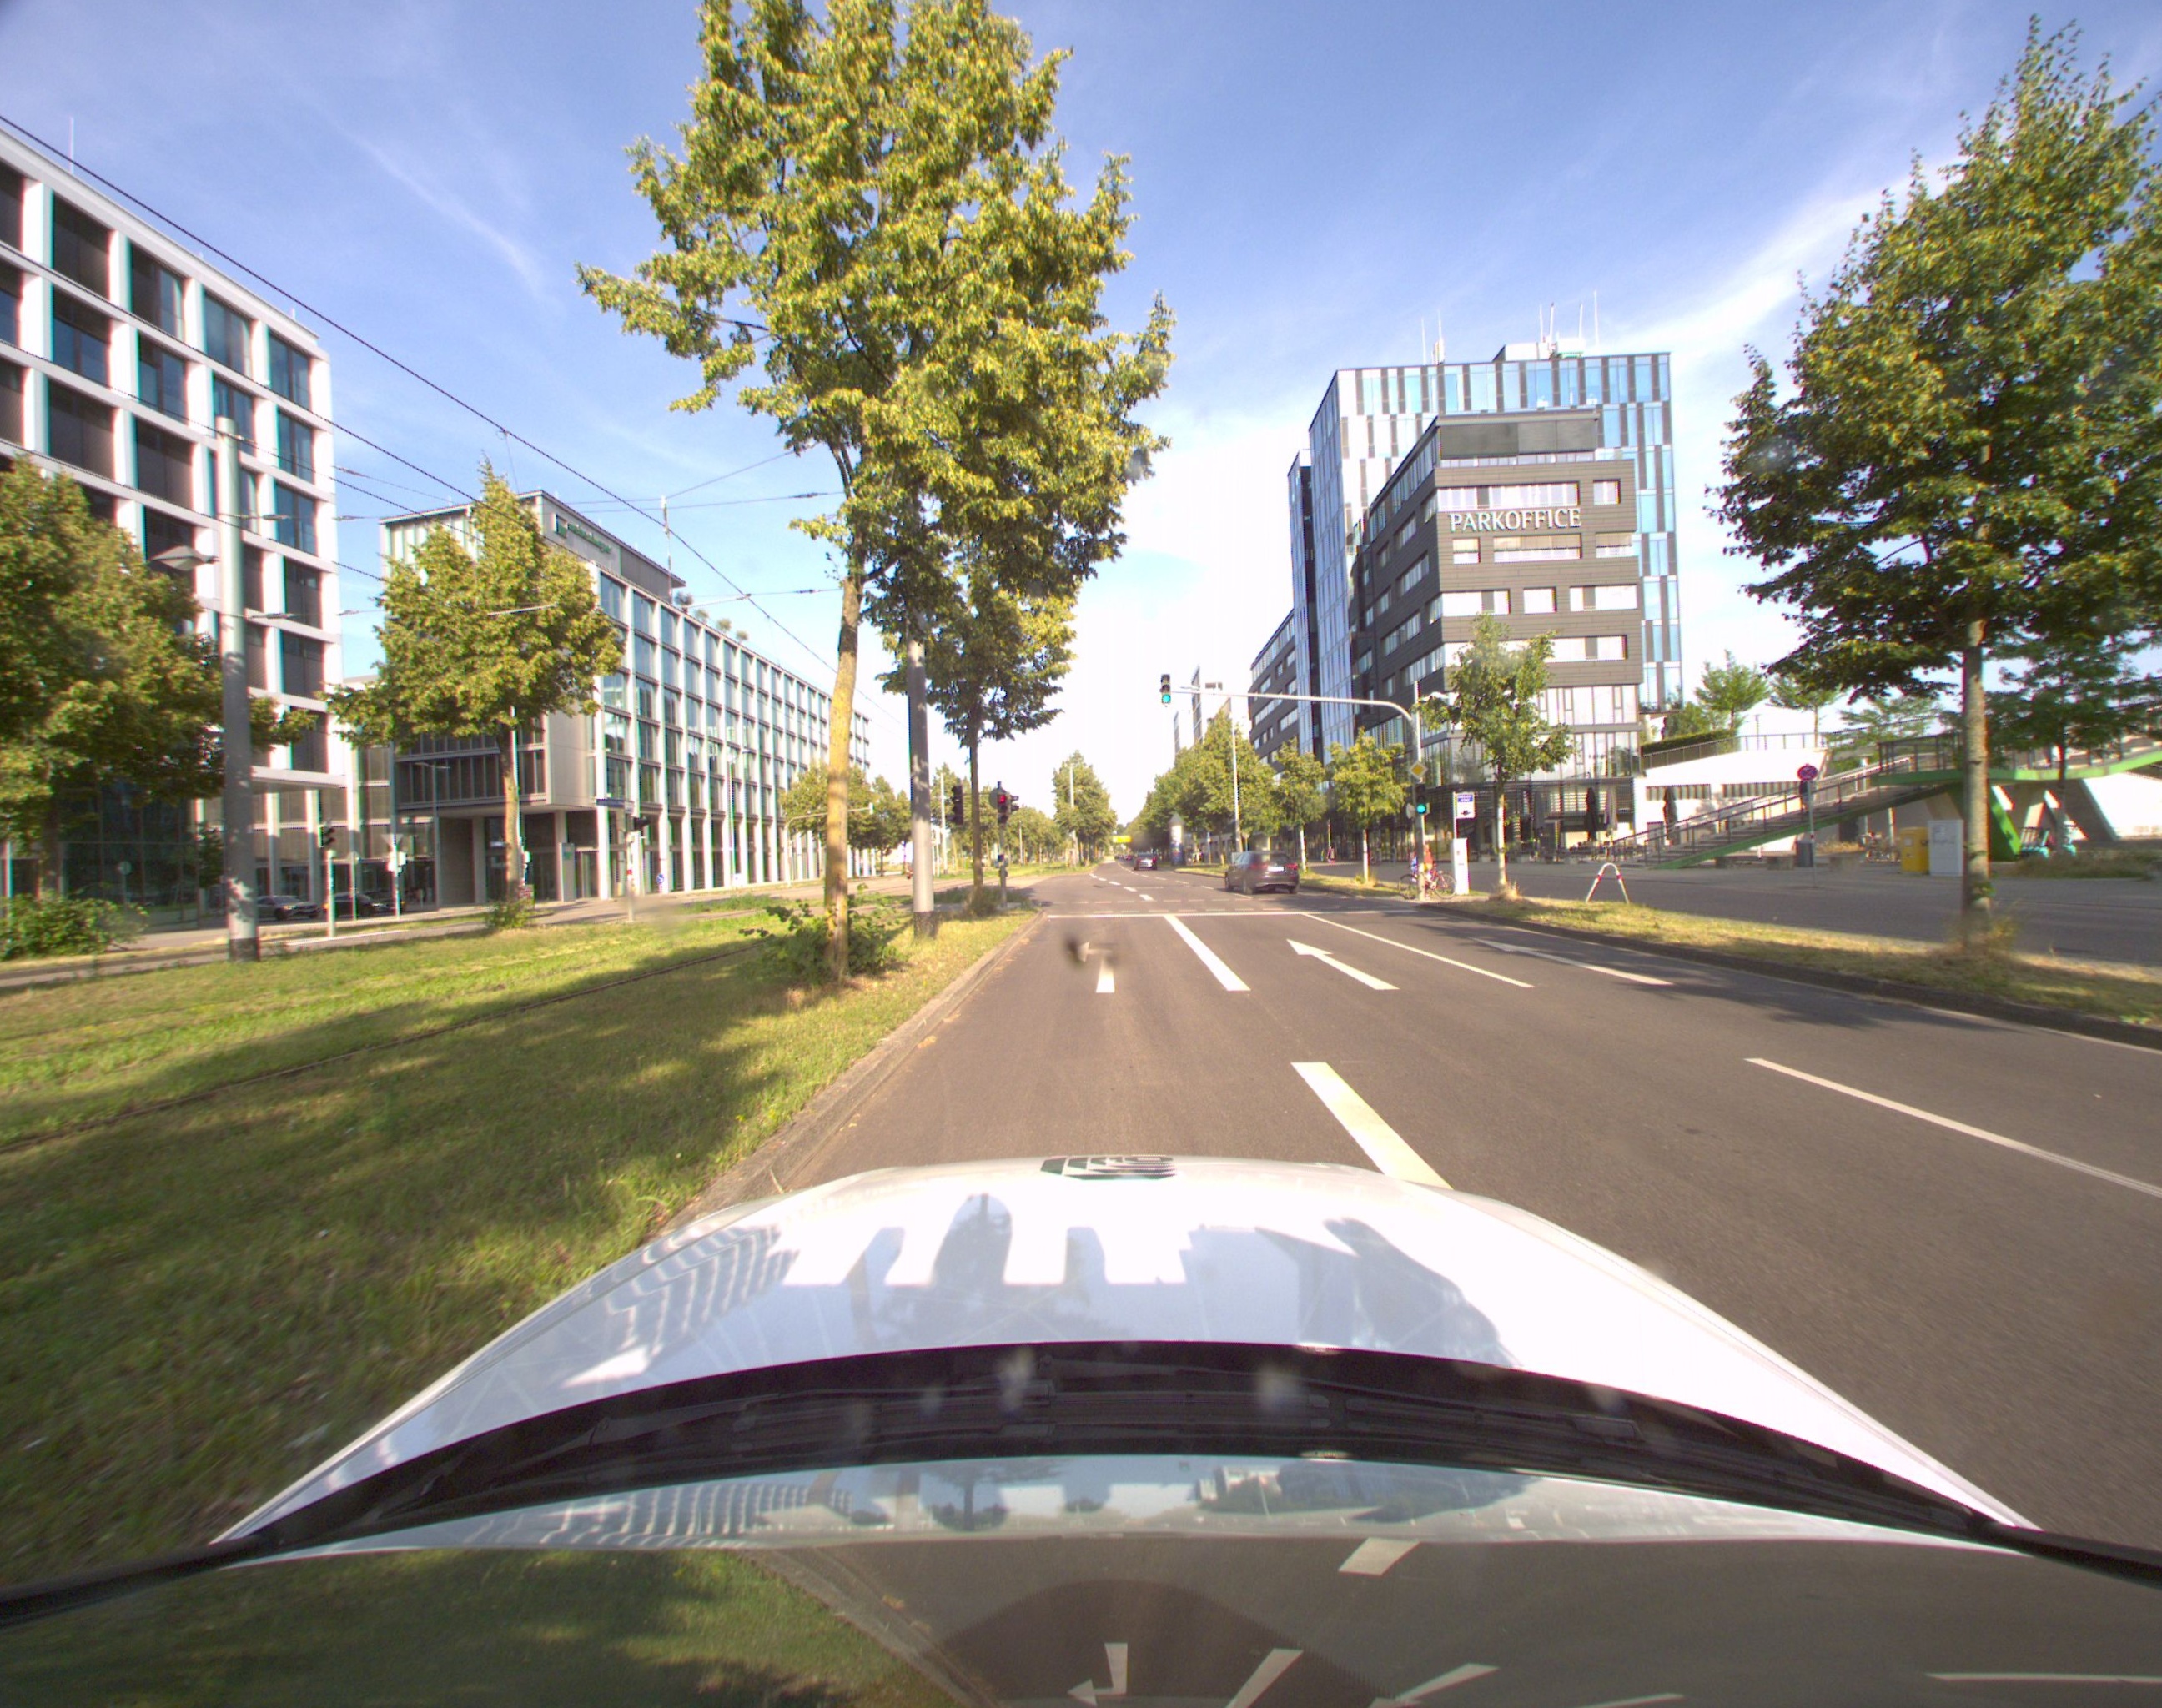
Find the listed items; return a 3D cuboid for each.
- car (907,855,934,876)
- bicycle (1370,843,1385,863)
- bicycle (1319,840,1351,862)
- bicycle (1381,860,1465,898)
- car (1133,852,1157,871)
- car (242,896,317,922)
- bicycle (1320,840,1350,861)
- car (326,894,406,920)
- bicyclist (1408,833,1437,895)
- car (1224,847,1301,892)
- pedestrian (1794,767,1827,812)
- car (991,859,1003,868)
[{"bbox_3d":[-14.010,1.011,71.221,1.679,1.775,3.880,0,0,-2],"label":"car"},{"bbox_3d":[20.375,-0.031,55.977,0.371,1.346,1.895,0,-1,3],"label":"bicycle"},{"bbox_3d":[21.791,-0.291,69.962,2.548,1.857,0.571,-1,-1,11],"label":"bicycle"},{"bbox_3d":[9.593,0.694,22.891,2.128,1.013,0.571,0,-1,-2],"label":"bicycle"},{"bbox_3d":[5.306,0.637,67.963,1.852,1.524,3.787,0,0,2],"label":"car"},{"bbox_3d":[-47.403,3.213,48.167,3.638,1.424,1.582,-1,-1,16],"label":"car"},{"bbox_3d":[21.498,-0.278,68.961,2.419,1.746,0.556,-1,-1,11],"label":"bicycle"},{"bbox_3d":[-40.600,2.996,46.260,3.478,1.424,1.580,-1,-1,11],"label":"car"},{"bbox_3d":[9.588,0.278,22.895,0.572,1.707,0.541,0,-1,1],"label":"bicyclist"},{"bbox_3d":[6.156,0.520,28.032,1.769,1.424,3.959,0,0,-1],"label":"car"},{"bbox_3d":[28.815,-2.536,32.177,0.688,1.692,0.790,-1,-1,15],"label":"pedestrian"},{"bbox_3d":[-13.404,1.476,130.292,1.634,1.443,3.953,0,0,-2],"label":"car"}]
